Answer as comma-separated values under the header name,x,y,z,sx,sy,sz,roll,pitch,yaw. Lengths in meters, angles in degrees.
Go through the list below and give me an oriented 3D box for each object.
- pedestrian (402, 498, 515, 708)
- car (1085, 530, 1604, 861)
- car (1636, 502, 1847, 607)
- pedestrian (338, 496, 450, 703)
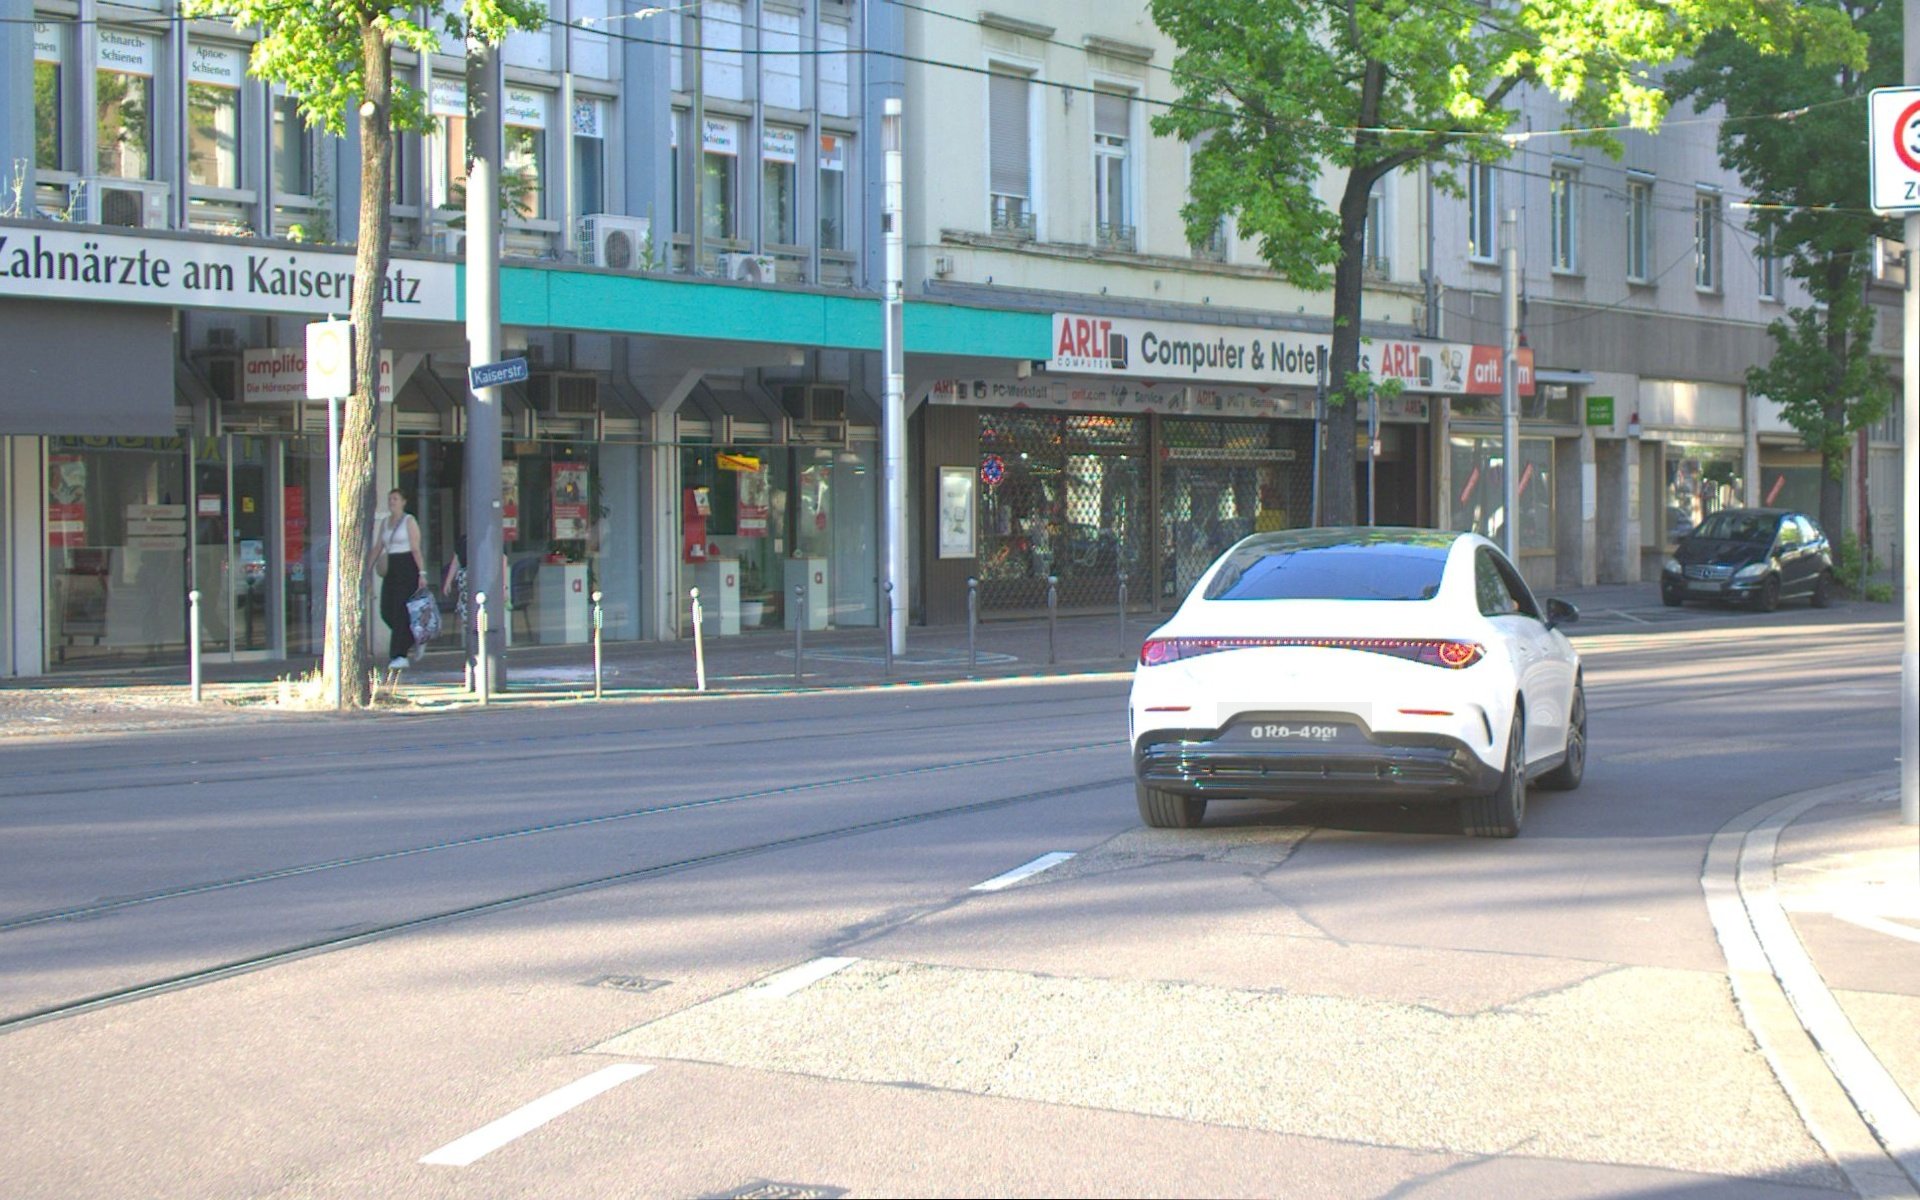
name,x,y,z,sx,sy,sz,roll,pitch,yaw
pedestrian,-4.877,0.020,33.444,0.798,2.007,0.732,1,1,35
car,2.076,0.385,17.454,1.869,1.464,4.039,0,1,17
car,12.693,-0.768,55.689,1.966,1.634,3.992,1,2,35
pedestrian,-5.574,-0.017,33.889,0.798,2.007,0.732,1,1,35
